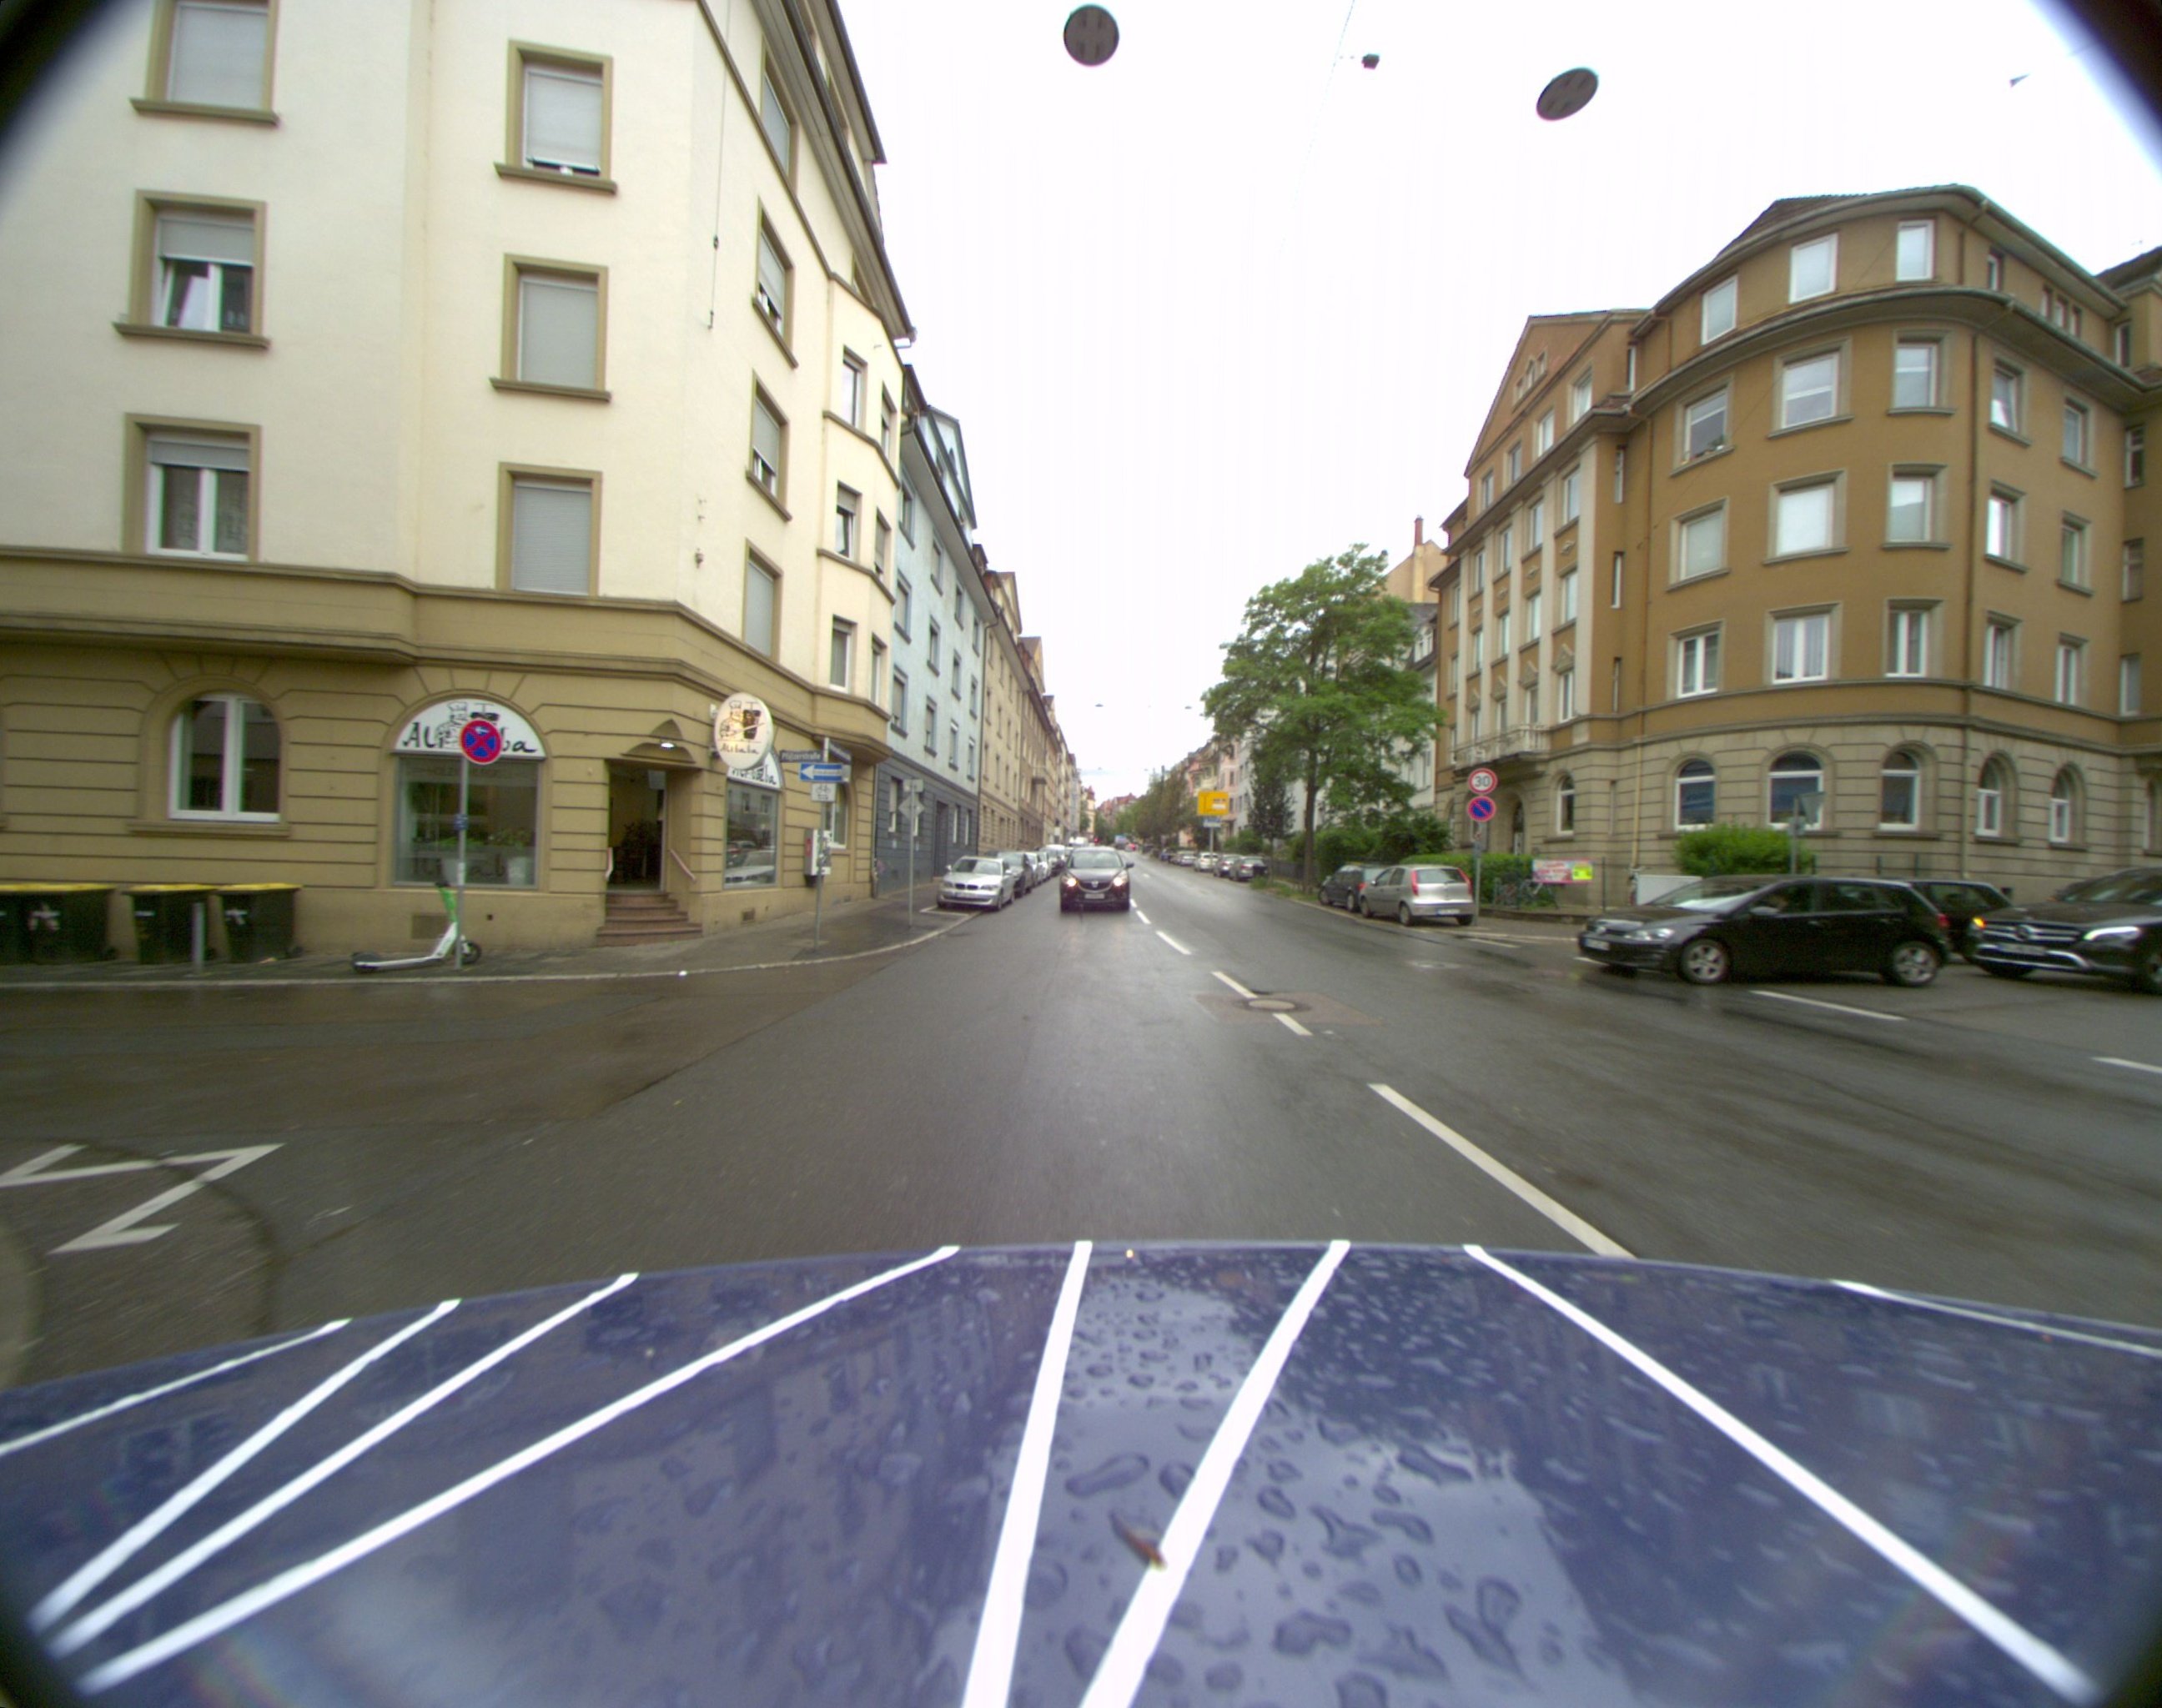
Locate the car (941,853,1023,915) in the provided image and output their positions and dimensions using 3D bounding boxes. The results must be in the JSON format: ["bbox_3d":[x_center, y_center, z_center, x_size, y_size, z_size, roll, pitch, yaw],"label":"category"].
[{"bbox_3d":[-2.751,0.778,21.870,1.573,1.455,4.089,3,1,2],"label":"car"}]

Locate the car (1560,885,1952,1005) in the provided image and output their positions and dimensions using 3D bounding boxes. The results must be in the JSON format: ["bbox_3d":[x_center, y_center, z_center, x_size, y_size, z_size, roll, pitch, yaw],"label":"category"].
[{"bbox_3d":[9.163,1.204,10.585,3.825,1.382,1.742,0,2,1],"label":"car"}]

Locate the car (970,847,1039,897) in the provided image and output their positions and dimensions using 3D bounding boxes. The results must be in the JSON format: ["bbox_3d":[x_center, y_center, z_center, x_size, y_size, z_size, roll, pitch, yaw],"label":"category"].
[{"bbox_3d":[-2.695,0.591,27.598,1.822,1.549,4.293,3,1,2],"label":"car"}]

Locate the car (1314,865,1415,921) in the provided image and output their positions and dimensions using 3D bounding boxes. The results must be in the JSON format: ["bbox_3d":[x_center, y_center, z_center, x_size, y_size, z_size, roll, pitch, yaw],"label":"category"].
[{"bbox_3d":[8.786,1.159,23.908,1.658,1.445,3.941,2,1,0],"label":"car"}]

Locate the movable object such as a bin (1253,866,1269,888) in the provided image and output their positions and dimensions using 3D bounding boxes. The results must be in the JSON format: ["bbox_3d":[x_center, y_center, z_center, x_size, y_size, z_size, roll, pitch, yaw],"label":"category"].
[{"bbox_3d":[9.047,1.171,38.147,0.631,1.052,0.600,2,2,2],"label":"movable object such as a bin"}]

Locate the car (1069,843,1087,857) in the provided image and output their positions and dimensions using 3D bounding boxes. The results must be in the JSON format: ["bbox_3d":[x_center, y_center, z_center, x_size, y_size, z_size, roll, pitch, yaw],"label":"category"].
[{"bbox_3d":[-0.316,-0.450,87.209,1.782,1.471,4.587,2,2,2],"label":"car"}]

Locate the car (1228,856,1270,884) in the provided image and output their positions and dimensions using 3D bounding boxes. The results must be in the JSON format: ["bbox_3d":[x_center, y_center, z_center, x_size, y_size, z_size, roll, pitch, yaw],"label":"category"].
[{"bbox_3d":[9.467,0.874,43.024,1.686,1.382,3.936,1,1,3],"label":"car"}]

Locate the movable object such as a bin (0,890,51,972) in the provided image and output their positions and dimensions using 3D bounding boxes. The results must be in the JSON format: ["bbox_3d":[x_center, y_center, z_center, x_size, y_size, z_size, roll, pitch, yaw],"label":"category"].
[{"bbox_3d":[-14.202,1.017,10.086,0.348,1.040,0.460,-1,2,-4],"label":"movable object such as a bin"}]

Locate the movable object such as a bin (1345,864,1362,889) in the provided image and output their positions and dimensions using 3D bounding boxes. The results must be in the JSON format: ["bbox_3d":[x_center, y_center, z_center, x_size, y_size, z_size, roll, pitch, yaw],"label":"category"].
[{"bbox_3d":[11.736,0.959,32.747,0.440,1.034,0.650,2,1,1],"label":"movable object such as a bin"}]

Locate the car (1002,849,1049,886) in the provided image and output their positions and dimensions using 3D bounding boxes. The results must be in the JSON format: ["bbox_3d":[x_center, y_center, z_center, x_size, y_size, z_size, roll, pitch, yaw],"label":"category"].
[{"bbox_3d":[-2.418,0.569,33.851,1.587,1.421,3.595,4,1,2],"label":"car"}]

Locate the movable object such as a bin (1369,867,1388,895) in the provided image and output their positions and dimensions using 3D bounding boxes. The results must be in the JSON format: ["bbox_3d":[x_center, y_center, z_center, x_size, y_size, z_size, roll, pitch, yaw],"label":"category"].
[{"bbox_3d":[11.637,1.061,29.724,0.427,1.035,0.650,2,1,1],"label":"movable object such as a bin"}]

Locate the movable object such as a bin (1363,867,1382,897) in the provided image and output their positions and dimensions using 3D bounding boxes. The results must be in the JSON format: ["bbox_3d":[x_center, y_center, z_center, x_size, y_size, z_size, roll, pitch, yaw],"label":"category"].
[{"bbox_3d":[11.665,1.112,30.419,0.440,1.124,0.657,2,1,1],"label":"movable object such as a bin"}]

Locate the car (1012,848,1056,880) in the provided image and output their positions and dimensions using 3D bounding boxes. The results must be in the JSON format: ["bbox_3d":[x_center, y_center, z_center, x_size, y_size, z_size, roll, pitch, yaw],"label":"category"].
[{"bbox_3d":[-2.298,0.459,38.181,1.733,1.421,3.973,4,1,2],"label":"car"}]

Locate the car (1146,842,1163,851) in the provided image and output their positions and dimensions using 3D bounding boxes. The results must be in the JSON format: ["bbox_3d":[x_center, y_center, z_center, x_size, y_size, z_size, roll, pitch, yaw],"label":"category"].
[{"bbox_3d":[17.351,-1.798,179.270,3.929,1.837,1.867,2,2,0],"label":"car"}]

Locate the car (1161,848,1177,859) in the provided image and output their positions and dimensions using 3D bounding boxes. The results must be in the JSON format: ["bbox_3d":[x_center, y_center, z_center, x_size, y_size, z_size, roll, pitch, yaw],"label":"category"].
[{"bbox_3d":[11.651,-0.088,100.838,1.683,1.378,4.602,2,2,2],"label":"car"}]

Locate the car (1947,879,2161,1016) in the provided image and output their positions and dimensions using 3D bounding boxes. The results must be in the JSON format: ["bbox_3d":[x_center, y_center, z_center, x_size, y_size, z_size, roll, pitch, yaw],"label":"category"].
[{"bbox_3d":[14.609,1.229,10.229,3.818,1.573,1.693,1,2,1],"label":"car"}]

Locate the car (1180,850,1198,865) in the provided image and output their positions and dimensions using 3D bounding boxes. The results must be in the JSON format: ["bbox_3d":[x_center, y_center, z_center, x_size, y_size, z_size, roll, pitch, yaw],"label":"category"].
[{"bbox_3d":[10.687,0.337,75.107,1.604,1.443,3.889,0,1,6],"label":"car"}]

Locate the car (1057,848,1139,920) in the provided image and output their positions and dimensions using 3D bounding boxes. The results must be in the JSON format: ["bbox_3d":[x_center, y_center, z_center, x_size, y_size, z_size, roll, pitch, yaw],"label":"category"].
[{"bbox_3d":[0.416,0.713,20.336,1.889,1.543,3.999,4,2,0],"label":"car"}]

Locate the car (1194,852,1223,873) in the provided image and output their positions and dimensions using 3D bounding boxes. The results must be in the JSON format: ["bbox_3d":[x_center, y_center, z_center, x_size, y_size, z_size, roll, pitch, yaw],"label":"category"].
[{"bbox_3d":[9.919,0.638,59.191,1.650,1.499,3.796,1,1,1],"label":"car"}]

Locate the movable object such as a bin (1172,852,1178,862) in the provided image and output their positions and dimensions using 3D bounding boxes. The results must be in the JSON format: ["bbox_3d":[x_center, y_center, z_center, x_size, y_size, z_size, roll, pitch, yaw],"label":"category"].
[{"bbox_3d":[10.689,0.335,86.376,0.526,1.052,0.482,-2,2,-19],"label":"movable object such as a bin"}]

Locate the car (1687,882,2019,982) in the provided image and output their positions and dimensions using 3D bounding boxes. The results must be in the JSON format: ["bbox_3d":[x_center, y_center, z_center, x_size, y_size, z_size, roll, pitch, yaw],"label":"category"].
[{"bbox_3d":[13.346,1.307,13.356,3.824,1.382,1.743,2,2,4],"label":"car"}]

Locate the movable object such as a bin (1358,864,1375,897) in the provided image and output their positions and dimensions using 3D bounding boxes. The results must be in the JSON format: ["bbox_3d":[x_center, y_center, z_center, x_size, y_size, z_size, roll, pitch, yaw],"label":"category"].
[{"bbox_3d":[11.721,1.096,31.184,0.440,1.301,0.609,2,1,1],"label":"movable object such as a bin"}]

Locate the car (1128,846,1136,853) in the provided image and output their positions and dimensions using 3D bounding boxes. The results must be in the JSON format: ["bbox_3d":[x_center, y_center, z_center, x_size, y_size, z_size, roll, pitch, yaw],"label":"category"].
[{"bbox_3d":[12.663,-1.108,189.612,1.771,1.540,3.652,1,2,2],"label":"car"}]

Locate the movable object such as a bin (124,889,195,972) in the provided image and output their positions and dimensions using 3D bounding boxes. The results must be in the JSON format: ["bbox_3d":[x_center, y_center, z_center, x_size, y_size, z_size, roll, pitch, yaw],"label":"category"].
[{"bbox_3d":[-12.365,1.016,10.205,0.349,1.060,0.442,-2,2,-8],"label":"movable object such as a bin"}]

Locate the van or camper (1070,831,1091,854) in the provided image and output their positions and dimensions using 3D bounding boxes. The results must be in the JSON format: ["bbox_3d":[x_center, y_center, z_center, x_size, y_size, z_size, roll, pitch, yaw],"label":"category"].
[{"bbox_3d":[-0.019,-1.468,97.571,2.189,2.684,6.420,2,1,4],"label":"van or camper"}]

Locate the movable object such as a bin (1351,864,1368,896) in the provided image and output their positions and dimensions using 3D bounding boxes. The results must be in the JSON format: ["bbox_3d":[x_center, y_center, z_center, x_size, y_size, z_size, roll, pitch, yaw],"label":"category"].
[{"bbox_3d":[11.673,1.074,31.905,0.440,1.301,0.650,2,1,1],"label":"movable object such as a bin"}]

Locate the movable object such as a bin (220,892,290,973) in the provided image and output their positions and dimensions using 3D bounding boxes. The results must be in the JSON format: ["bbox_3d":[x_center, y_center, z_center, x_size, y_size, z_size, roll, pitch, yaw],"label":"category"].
[{"bbox_3d":[-11.303,1.063,10.405,0.343,1.039,0.525,-1,1,2],"label":"movable object such as a bin"}]

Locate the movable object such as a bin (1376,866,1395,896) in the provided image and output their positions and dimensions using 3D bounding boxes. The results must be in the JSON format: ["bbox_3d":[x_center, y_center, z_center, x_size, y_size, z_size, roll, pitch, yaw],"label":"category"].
[{"bbox_3d":[11.611,1.024,28.975,0.440,1.075,0.589,2,1,1],"label":"movable object such as a bin"}]

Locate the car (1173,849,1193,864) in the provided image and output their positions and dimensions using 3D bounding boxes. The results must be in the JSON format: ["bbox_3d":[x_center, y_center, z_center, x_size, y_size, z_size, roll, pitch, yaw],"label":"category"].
[{"bbox_3d":[10.735,0.250,79.914,1.604,1.389,3.886,1,2,1],"label":"car"}]

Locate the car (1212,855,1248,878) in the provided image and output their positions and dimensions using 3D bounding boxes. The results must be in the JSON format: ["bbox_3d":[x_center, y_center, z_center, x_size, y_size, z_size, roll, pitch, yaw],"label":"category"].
[{"bbox_3d":[9.544,0.775,48.918,1.686,1.382,3.909,1,1,3],"label":"car"}]

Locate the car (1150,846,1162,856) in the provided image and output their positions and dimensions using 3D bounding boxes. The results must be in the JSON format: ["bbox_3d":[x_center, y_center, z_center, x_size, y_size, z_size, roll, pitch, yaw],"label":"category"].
[{"bbox_3d":[12.781,-0.527,129.662,1.685,1.410,4.137,3,1,2],"label":"car"}]

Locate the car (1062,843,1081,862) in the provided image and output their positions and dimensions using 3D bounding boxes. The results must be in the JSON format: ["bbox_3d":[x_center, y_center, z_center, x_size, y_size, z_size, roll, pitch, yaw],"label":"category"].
[{"bbox_3d":[-0.869,-0.199,74.202,1.636,1.629,4.194,4,1,0],"label":"car"}]

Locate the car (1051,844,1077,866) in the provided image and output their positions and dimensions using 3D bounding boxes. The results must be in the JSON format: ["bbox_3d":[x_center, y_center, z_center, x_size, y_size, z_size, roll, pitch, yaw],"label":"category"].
[{"bbox_3d":[-1.324,0.050,60.921,1.794,1.539,4.225,3,1,2],"label":"car"}]

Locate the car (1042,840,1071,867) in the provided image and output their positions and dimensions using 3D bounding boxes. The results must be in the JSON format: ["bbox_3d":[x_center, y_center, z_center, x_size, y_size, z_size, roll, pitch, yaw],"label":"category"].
[{"bbox_3d":[-1.748,-0.046,55.796,1.795,1.807,4.079,3,1,2],"label":"car"}]

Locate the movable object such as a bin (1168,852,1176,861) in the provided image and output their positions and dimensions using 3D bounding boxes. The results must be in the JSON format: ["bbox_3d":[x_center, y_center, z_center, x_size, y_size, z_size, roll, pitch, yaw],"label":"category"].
[{"bbox_3d":[10.529,0.298,87.650,0.826,1.052,0.483,-1,2,3],"label":"movable object such as a bin"}]

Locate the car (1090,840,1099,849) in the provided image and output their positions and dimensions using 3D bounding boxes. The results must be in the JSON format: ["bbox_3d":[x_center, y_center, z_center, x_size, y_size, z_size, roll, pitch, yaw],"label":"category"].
[{"bbox_3d":[2.920,-2.086,166.254,1.826,1.809,4.519,3,1,2],"label":"car"}]

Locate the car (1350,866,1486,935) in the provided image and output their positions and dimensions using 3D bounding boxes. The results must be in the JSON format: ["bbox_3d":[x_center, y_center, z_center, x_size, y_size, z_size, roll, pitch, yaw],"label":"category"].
[{"bbox_3d":[8.434,1.102,19.412,1.636,1.445,3.838,1,1,-2],"label":"car"}]

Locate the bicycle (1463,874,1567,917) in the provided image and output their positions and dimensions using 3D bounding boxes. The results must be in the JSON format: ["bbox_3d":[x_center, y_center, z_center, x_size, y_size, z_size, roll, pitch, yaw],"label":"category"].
[{"bbox_3d":[11.596,1.096,20.335,2.349,1.040,0.806,2,1,-7],"label":"bicycle"}]

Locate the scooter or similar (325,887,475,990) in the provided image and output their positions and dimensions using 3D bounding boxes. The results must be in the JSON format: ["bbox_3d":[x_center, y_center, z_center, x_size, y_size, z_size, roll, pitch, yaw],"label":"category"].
[{"bbox_3d":[-8.791,1.060,9.874,1.379,1.123,0.465,-3,7,-40],"label":"scooter or similar"}]

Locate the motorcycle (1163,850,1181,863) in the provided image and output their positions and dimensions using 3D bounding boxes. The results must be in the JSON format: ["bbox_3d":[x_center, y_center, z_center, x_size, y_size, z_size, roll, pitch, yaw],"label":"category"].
[{"bbox_3d":[10.173,0.266,84.797,1.805,1.307,0.743,3,2,43],"label":"motorcycle"}]

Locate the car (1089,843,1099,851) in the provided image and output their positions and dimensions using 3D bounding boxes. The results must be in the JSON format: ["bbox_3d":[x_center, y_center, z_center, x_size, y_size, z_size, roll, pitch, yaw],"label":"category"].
[{"bbox_3d":[2.535,-1.473,148.835,1.709,1.434,3.932,3,1,2],"label":"car"}]

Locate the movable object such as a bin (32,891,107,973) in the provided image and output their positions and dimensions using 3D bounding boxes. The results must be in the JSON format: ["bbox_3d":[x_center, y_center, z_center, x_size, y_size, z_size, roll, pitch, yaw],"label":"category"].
[{"bbox_3d":[-13.552,1.039,10.191,0.349,1.040,0.460,1,3,-7],"label":"movable object such as a bin"}]

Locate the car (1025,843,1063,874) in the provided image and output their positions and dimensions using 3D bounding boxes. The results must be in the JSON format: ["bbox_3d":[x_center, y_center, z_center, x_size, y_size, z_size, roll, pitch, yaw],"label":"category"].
[{"bbox_3d":[-2.129,0.219,44.722,1.845,1.612,4.207,3,2,1],"label":"car"}]

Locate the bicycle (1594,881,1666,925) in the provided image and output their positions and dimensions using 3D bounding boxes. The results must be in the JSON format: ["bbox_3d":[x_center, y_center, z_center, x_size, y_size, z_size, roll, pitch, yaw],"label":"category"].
[{"bbox_3d":[13.325,1.178,18.450,1.708,1.005,0.804,2,0,-32],"label":"bicycle"}]
